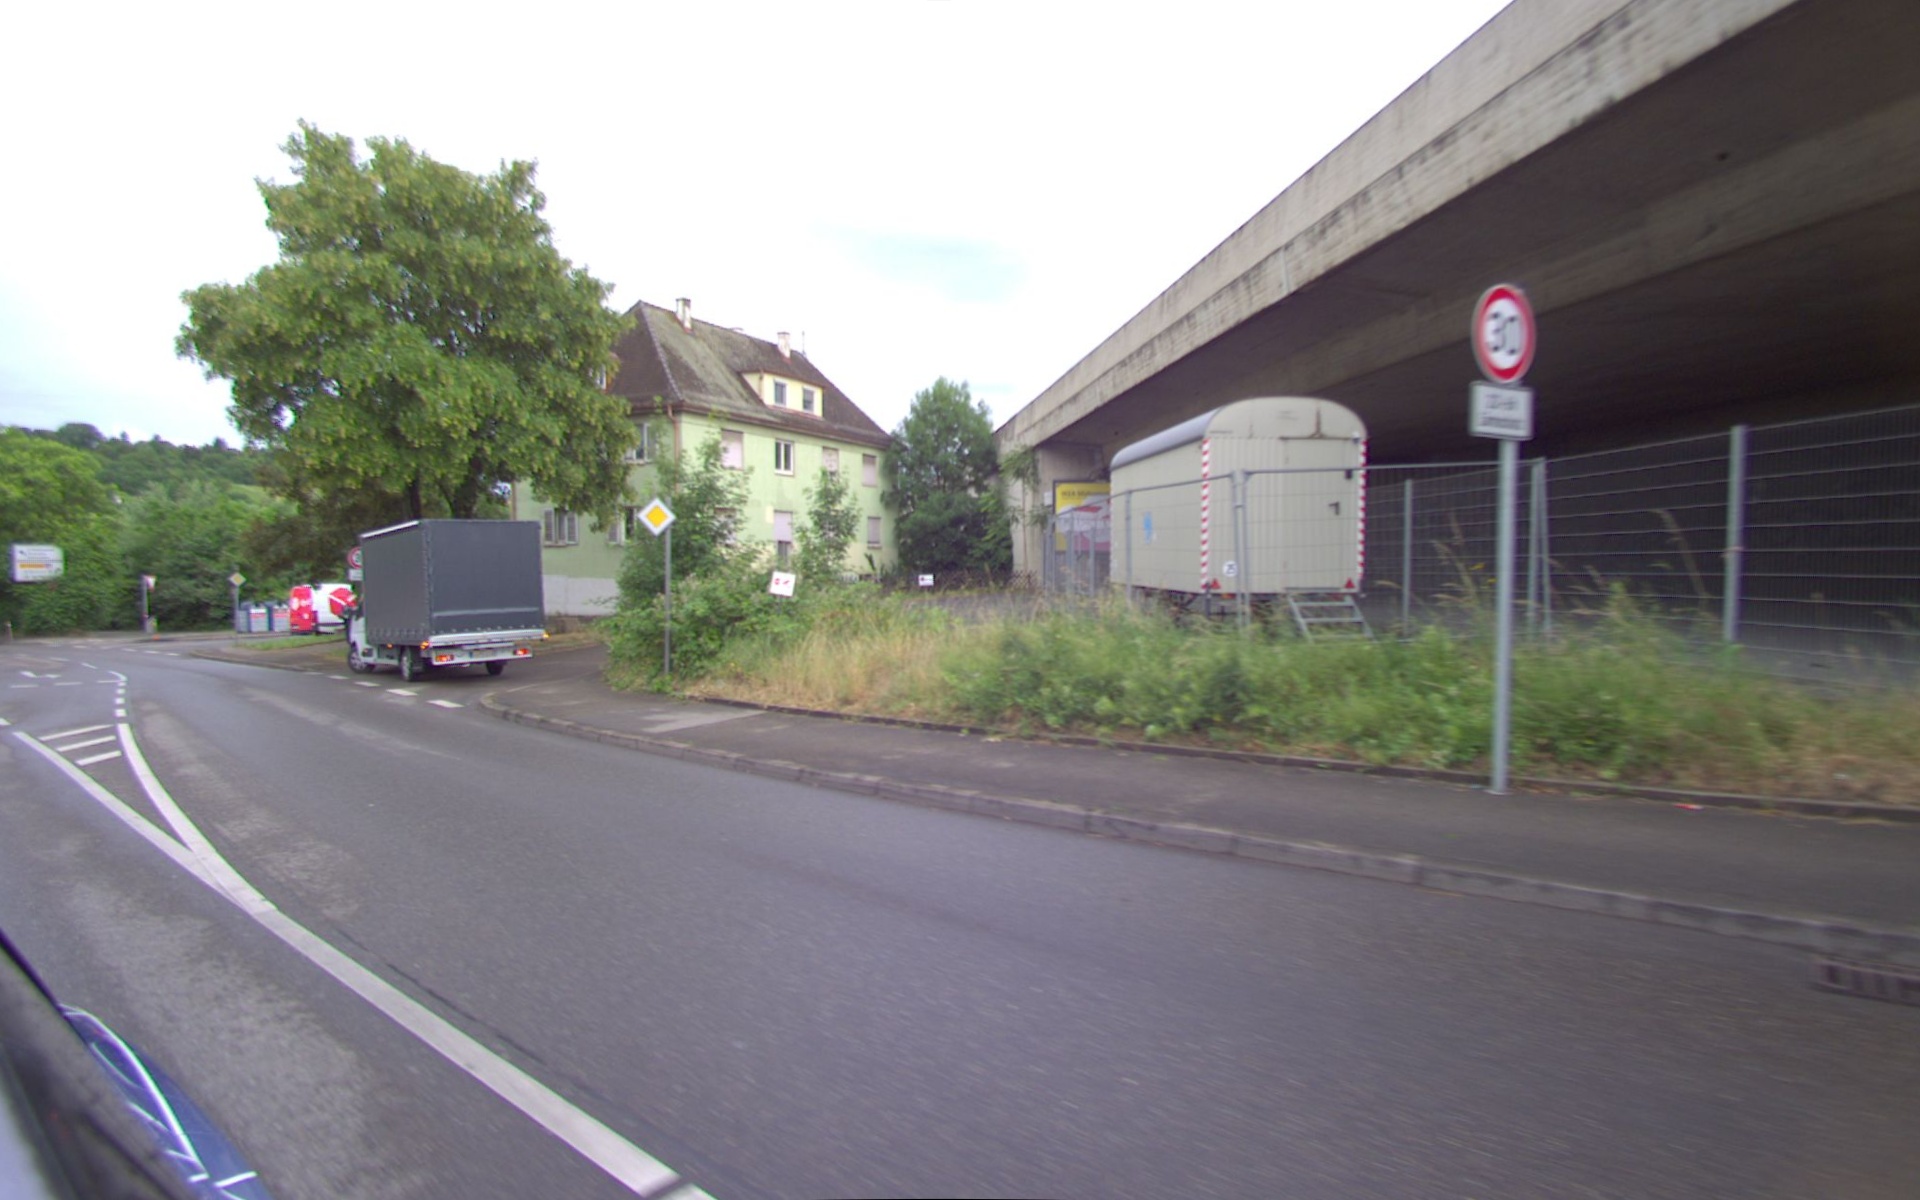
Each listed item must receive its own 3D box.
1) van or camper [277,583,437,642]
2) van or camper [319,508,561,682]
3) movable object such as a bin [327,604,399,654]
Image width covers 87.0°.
[{"bbox_3d":[-29.452,0.536,49.765,2.210,2.541,6.642,-2,1,25],"label":"van or camper"},{"bbox_3d":[-12.162,-0.099,23.249,2.667,3.359,7.767,-3,1,-44],"label":"van or camper"},{"bbox_3d":[-19.858,0.950,33.687,1.361,1.451,1.470,-5,1,7],"label":"movable object such as a bin"}]
